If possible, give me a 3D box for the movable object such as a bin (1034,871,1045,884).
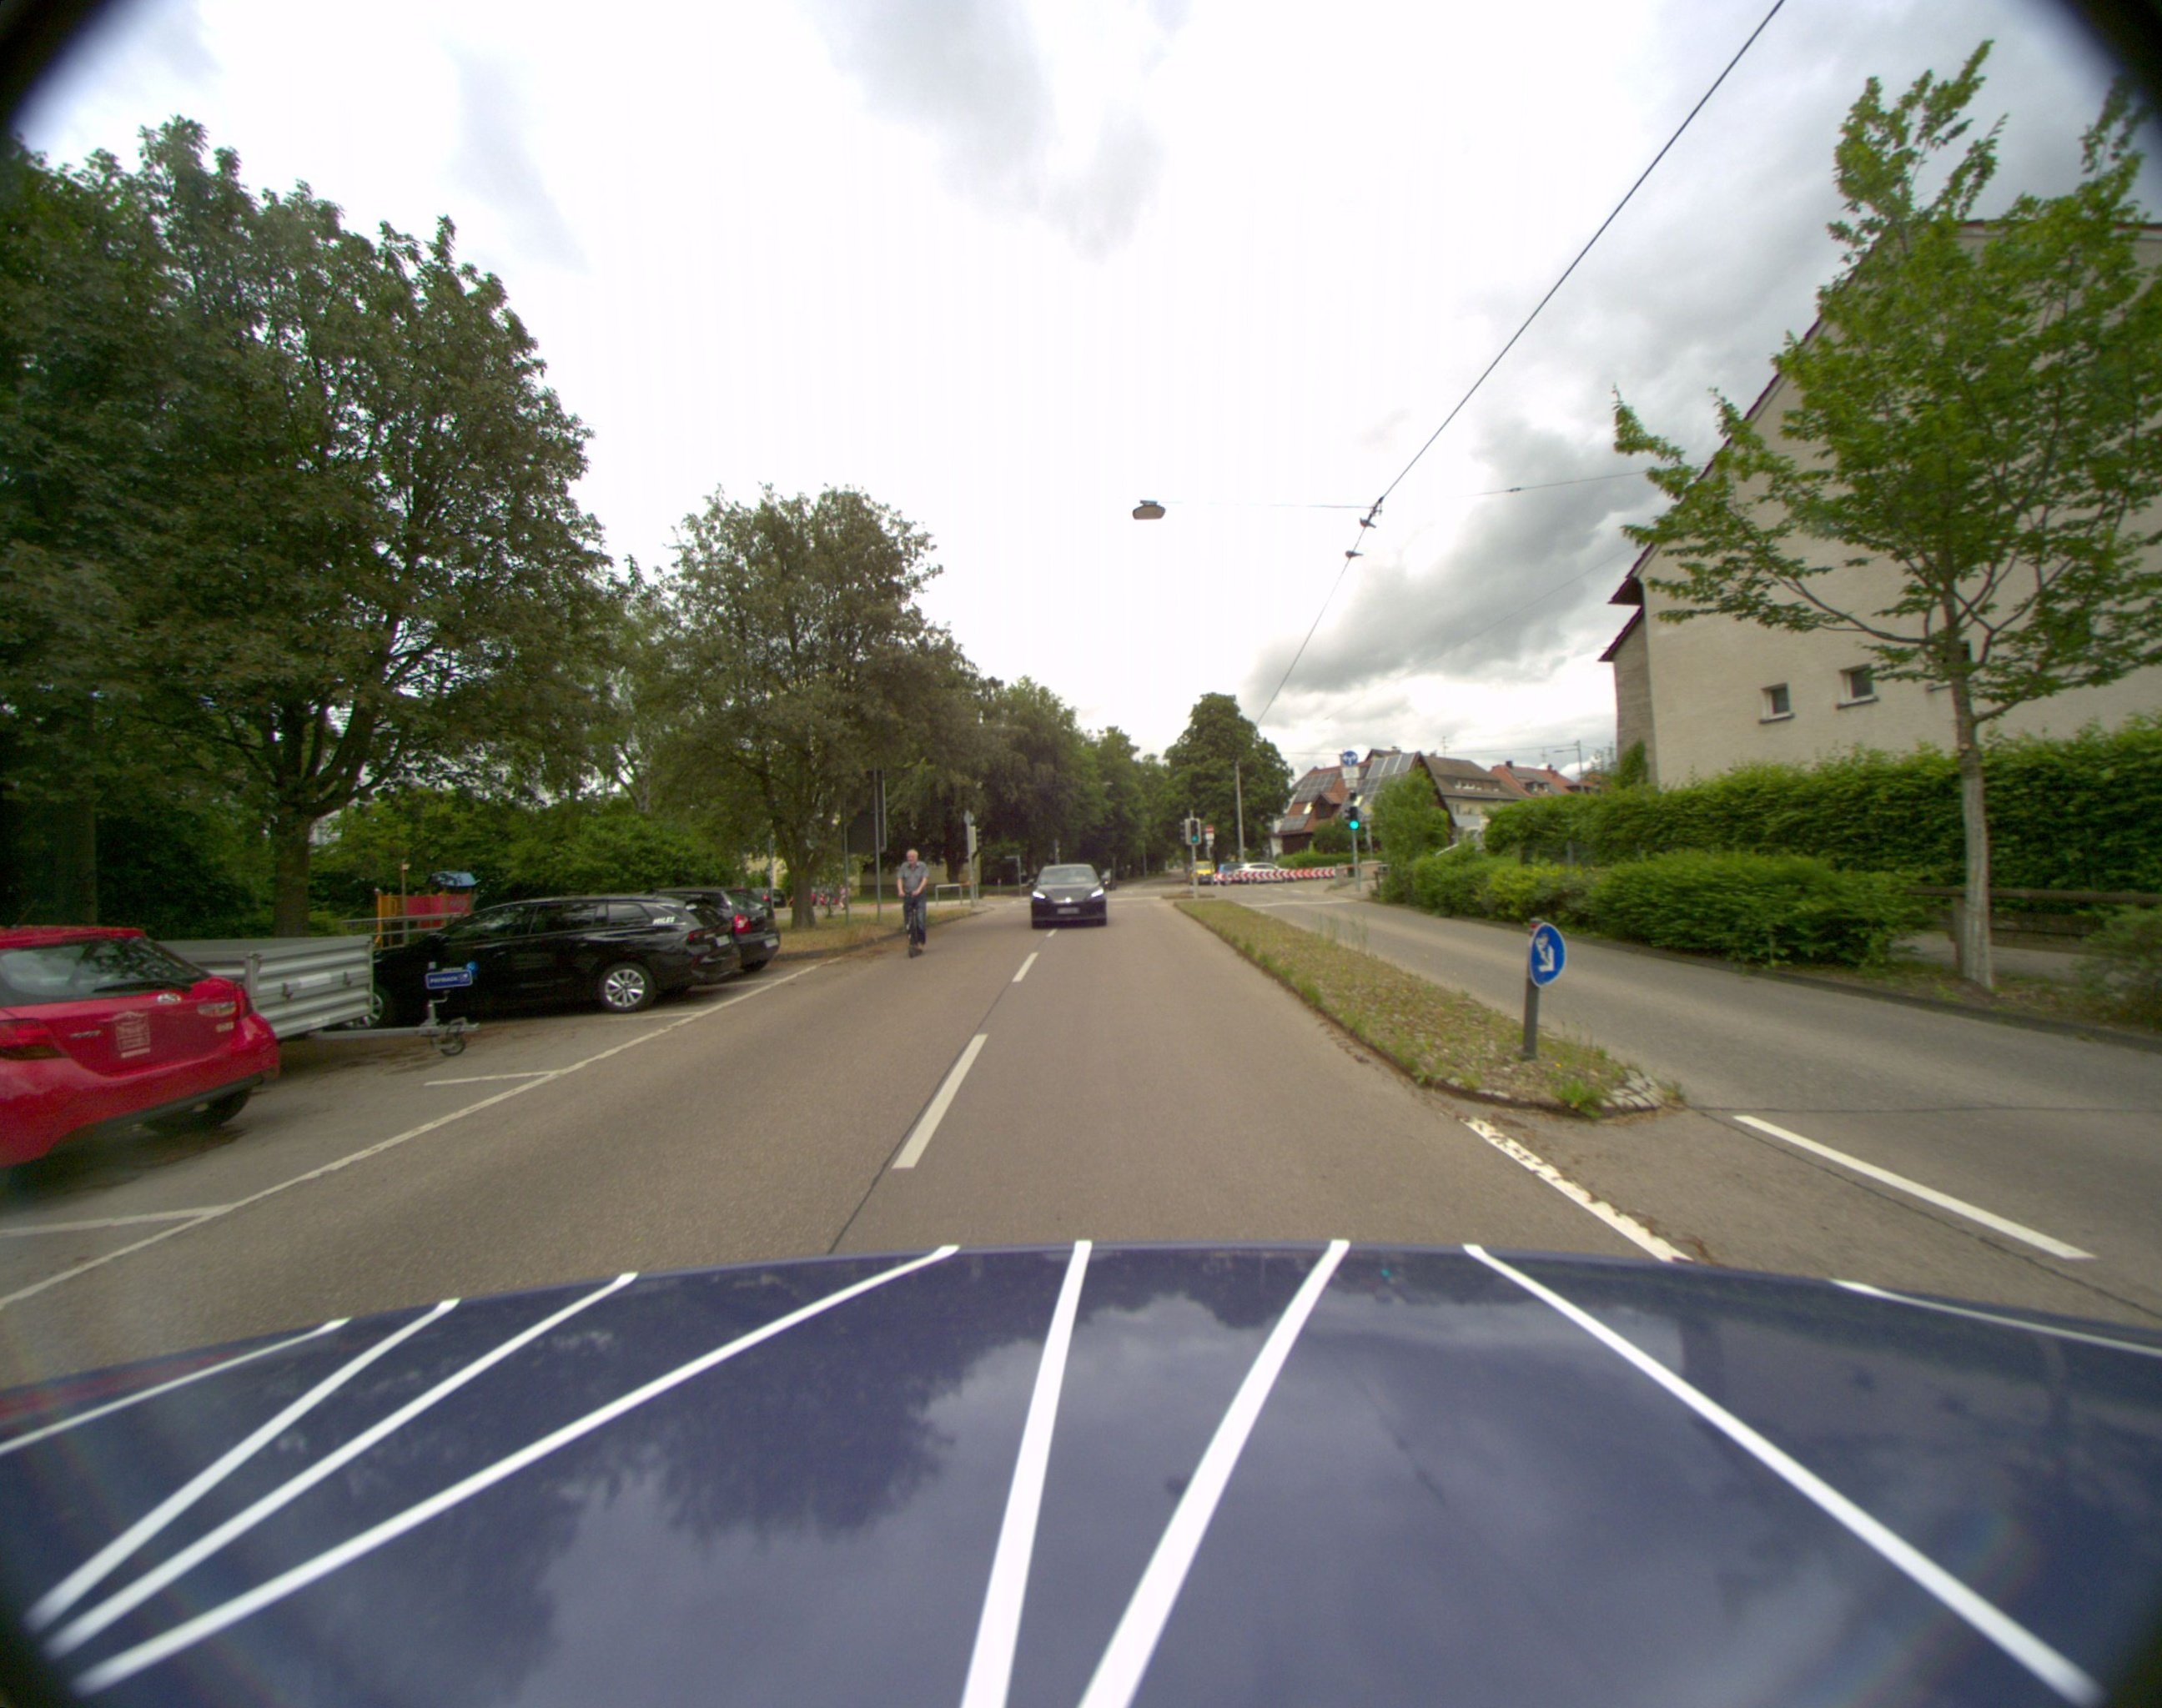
[{"bbox_3d":[-5.417,3.019,99.005,1.239,1.632,1.076,-1,0,7],"label":"movable object such as a bin"}]

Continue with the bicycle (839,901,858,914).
[{"bbox_3d":[-9.470,2.175,30.934,0.520,0.494,0.987,1,-7,-29],"label":"bicycle"}]

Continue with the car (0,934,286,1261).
[{"bbox_3d":[-7.133,1.367,4.130,3.536,1.467,1.591,-3,0,-12],"label":"car"}]

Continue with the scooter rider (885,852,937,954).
[{"bbox_3d":[-3.037,0.853,13.678,0.683,1.720,1.196,-3,-1,-5],"label":"scooter rider"}]

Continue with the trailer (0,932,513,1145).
[{"bbox_3d":[-7.374,1.513,6.659,3.413,1.259,1.615,-3,0,-9],"label":"trailer"}]

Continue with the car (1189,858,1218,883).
[{"bbox_3d":[10.147,1.360,63.278,1.920,1.977,4.802,-3,-1,4],"label":"car"}]

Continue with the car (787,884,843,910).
[{"bbox_3d":[-17.213,2.792,49.193,2.916,1.497,1.698,-4,-3,15],"label":"car"}]

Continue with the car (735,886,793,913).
[{"bbox_3d":[-21.503,3.101,51.486,3.816,1.581,1.822,-5,-2,36],"label":"car"}]

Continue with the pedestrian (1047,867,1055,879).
[{"bbox_3d":[-3.378,2.177,86.233,0.688,1.373,0.606,-3,0,10],"label":"pedestrian"}]

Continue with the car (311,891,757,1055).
[{"bbox_3d":[-6.469,1.360,9.469,4.149,1.467,1.575,-3,0,-12],"label":"car"}]

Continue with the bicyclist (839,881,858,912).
[{"bbox_3d":[-9.489,1.745,30.990,0.520,1.178,0.966,1,-7,-29],"label":"bicyclist"}]

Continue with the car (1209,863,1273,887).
[{"bbox_3d":[11.607,1.517,55.259,4.176,1.537,1.846,-3,-2,-1],"label":"car"}]

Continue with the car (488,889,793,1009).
[{"bbox_3d":[-6.679,1.409,11.820,3.726,1.467,1.576,-3,-1,-2],"label":"car"}]

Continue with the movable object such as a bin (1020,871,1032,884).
[{"bbox_3d":[-7.091,3.051,97.974,1.434,1.632,1.021,-1,0,7],"label":"movable object such as a bin"}]

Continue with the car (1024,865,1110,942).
[{"bbox_3d":[-0.231,1.122,18.774,1.803,1.541,4.299,-3,0,2],"label":"car"}]

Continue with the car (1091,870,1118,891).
[{"bbox_3d":[1.940,2.106,61.230,1.998,1.585,4.002,-3,-1,4],"label":"car"}]

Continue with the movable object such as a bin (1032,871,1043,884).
[{"bbox_3d":[-5.575,3.020,97.779,1.277,1.632,1.021,-1,0,7],"label":"movable object such as a bin"}]

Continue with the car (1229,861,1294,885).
[{"bbox_3d":[12.508,1.358,52.796,3.904,1.463,1.845,-2,-2,-8],"label":"car"}]

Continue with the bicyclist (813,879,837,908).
[{"bbox_3d":[-10.818,1.659,32.112,0.643,1.155,0.801,-2,-1,-40],"label":"bicyclist"}]

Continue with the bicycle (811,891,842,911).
[{"bbox_3d":[-10.761,1.978,32.081,0.643,0.754,1.677,-2,-1,-40],"label":"bicycle"}]

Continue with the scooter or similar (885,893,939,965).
[{"bbox_3d":[-3.006,1.313,13.622,0.683,1.132,1.459,-3,-1,-5],"label":"scooter or similar"}]
